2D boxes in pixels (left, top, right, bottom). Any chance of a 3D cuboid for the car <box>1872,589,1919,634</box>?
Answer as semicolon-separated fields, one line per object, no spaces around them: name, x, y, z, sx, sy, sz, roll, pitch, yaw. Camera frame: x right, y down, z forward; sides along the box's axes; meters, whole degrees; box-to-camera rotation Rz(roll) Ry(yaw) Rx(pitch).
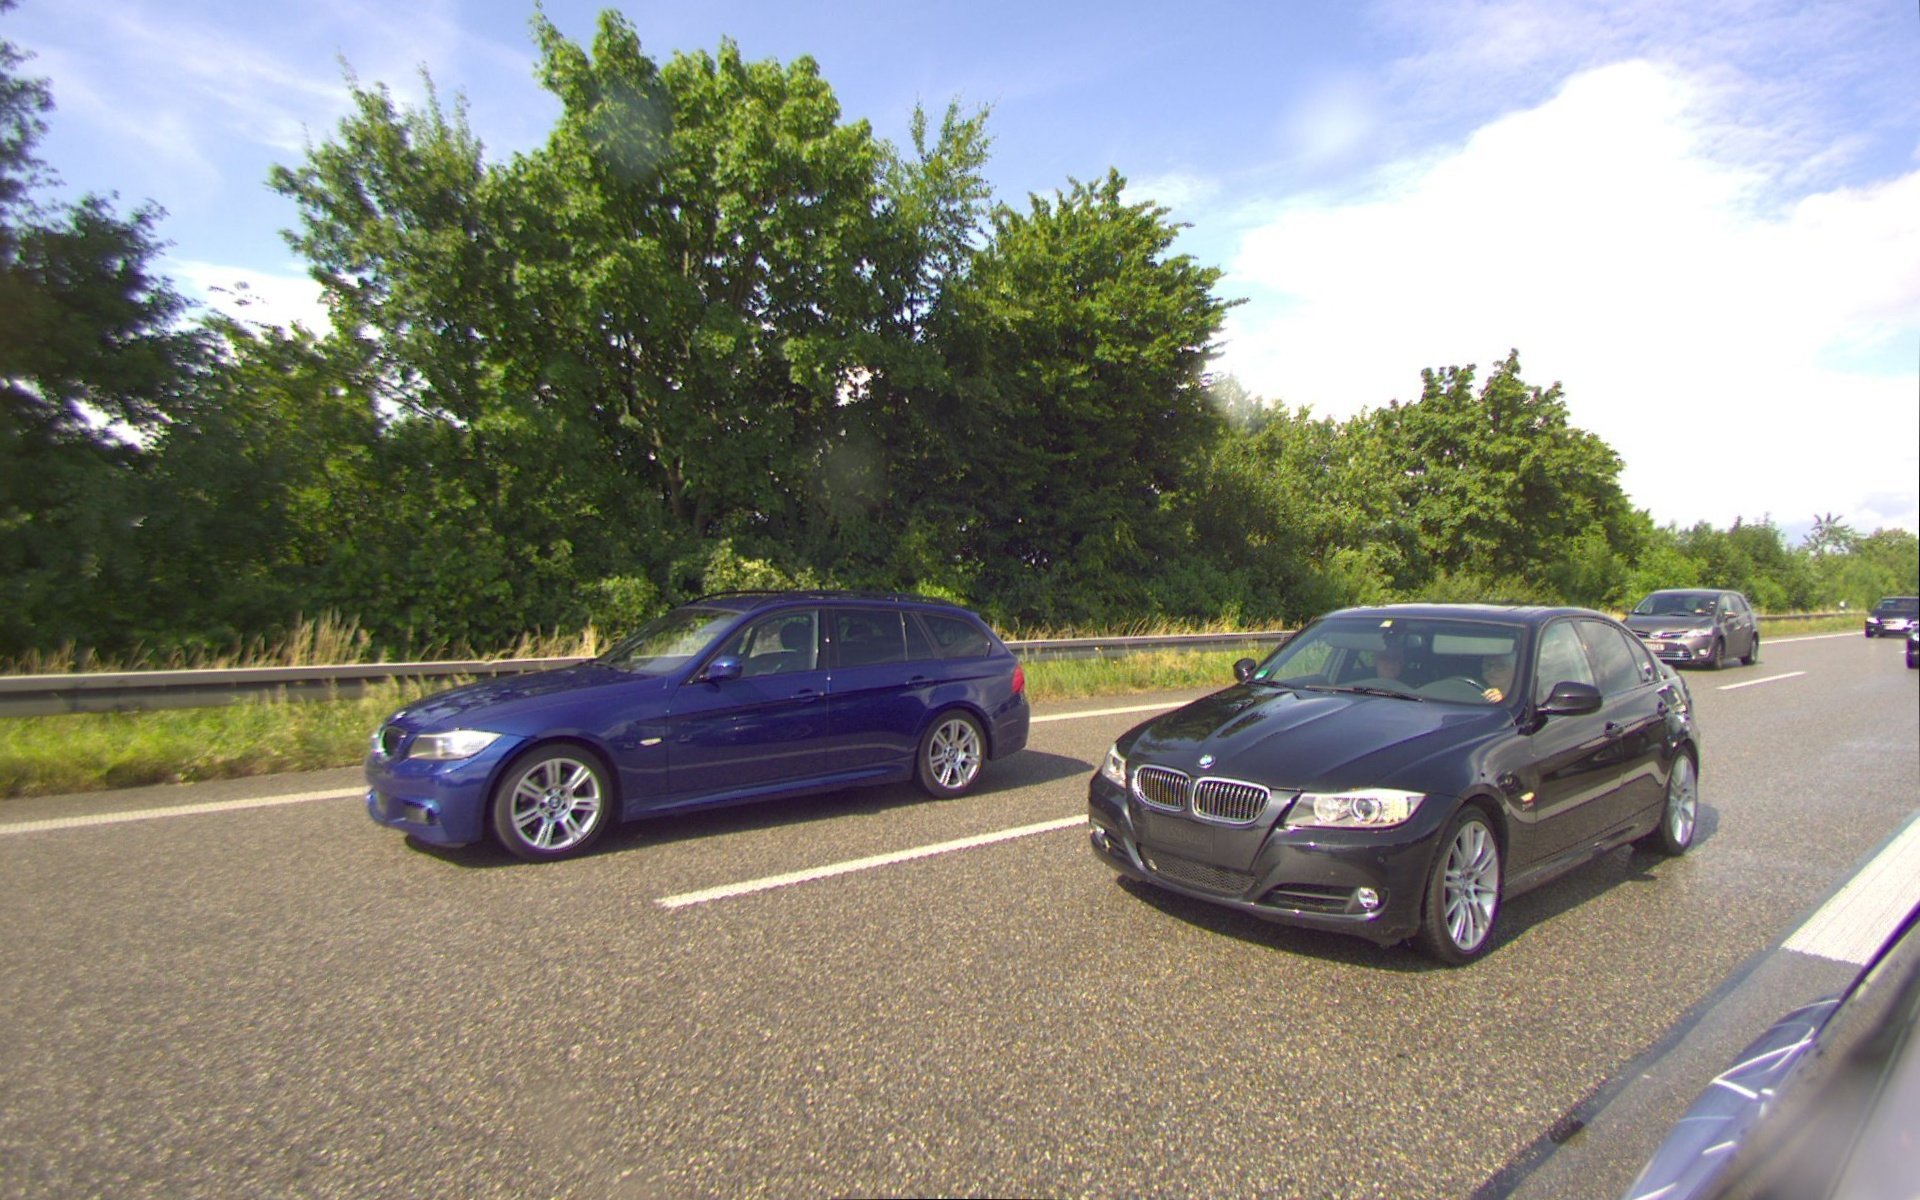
car;35.918;0.387;38.117;3.930;1.588;1.852;-1;2;-41

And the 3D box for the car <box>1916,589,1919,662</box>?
car;21.762;0.530;21.381;4.181;1.482;1.852;-1;2;-41

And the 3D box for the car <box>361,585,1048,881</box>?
car;-1.517;0.619;6.900;4.213;1.419;1.774;0;1;-40

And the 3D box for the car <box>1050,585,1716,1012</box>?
car;2.413;0.655;5.333;3.768;1.438;1.743;0;1;-41

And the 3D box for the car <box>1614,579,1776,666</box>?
car;15.490;0.402;21.248;4.307;1.633;1.792;0;1;-40
